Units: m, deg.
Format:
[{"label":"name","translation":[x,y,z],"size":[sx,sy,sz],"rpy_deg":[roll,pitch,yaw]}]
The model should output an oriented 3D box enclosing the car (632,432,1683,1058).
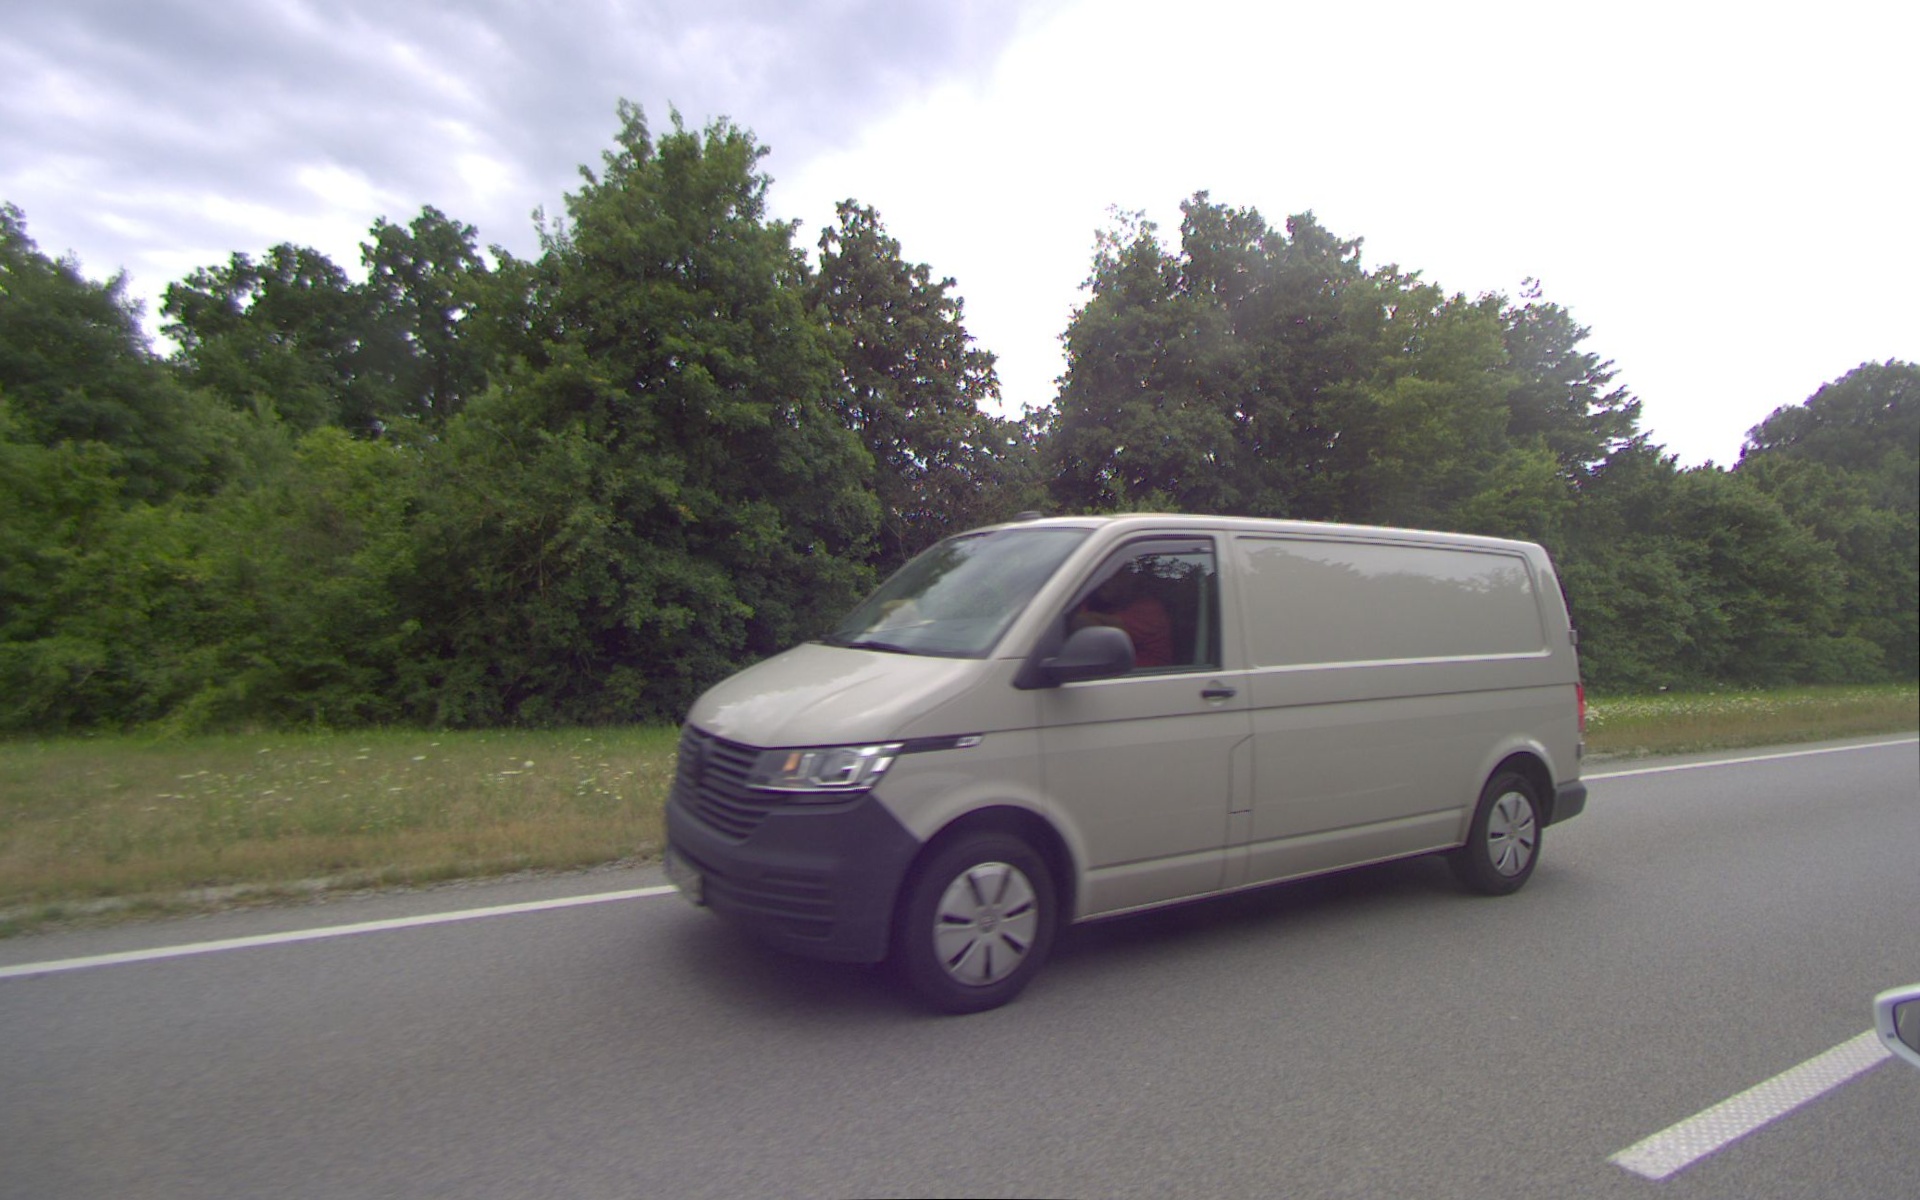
[{"label":"car","translation":[1.390,0.524,5.480],"size":[5.743,1.966,1.984],"rpy_deg":[2,0,-31]}]
